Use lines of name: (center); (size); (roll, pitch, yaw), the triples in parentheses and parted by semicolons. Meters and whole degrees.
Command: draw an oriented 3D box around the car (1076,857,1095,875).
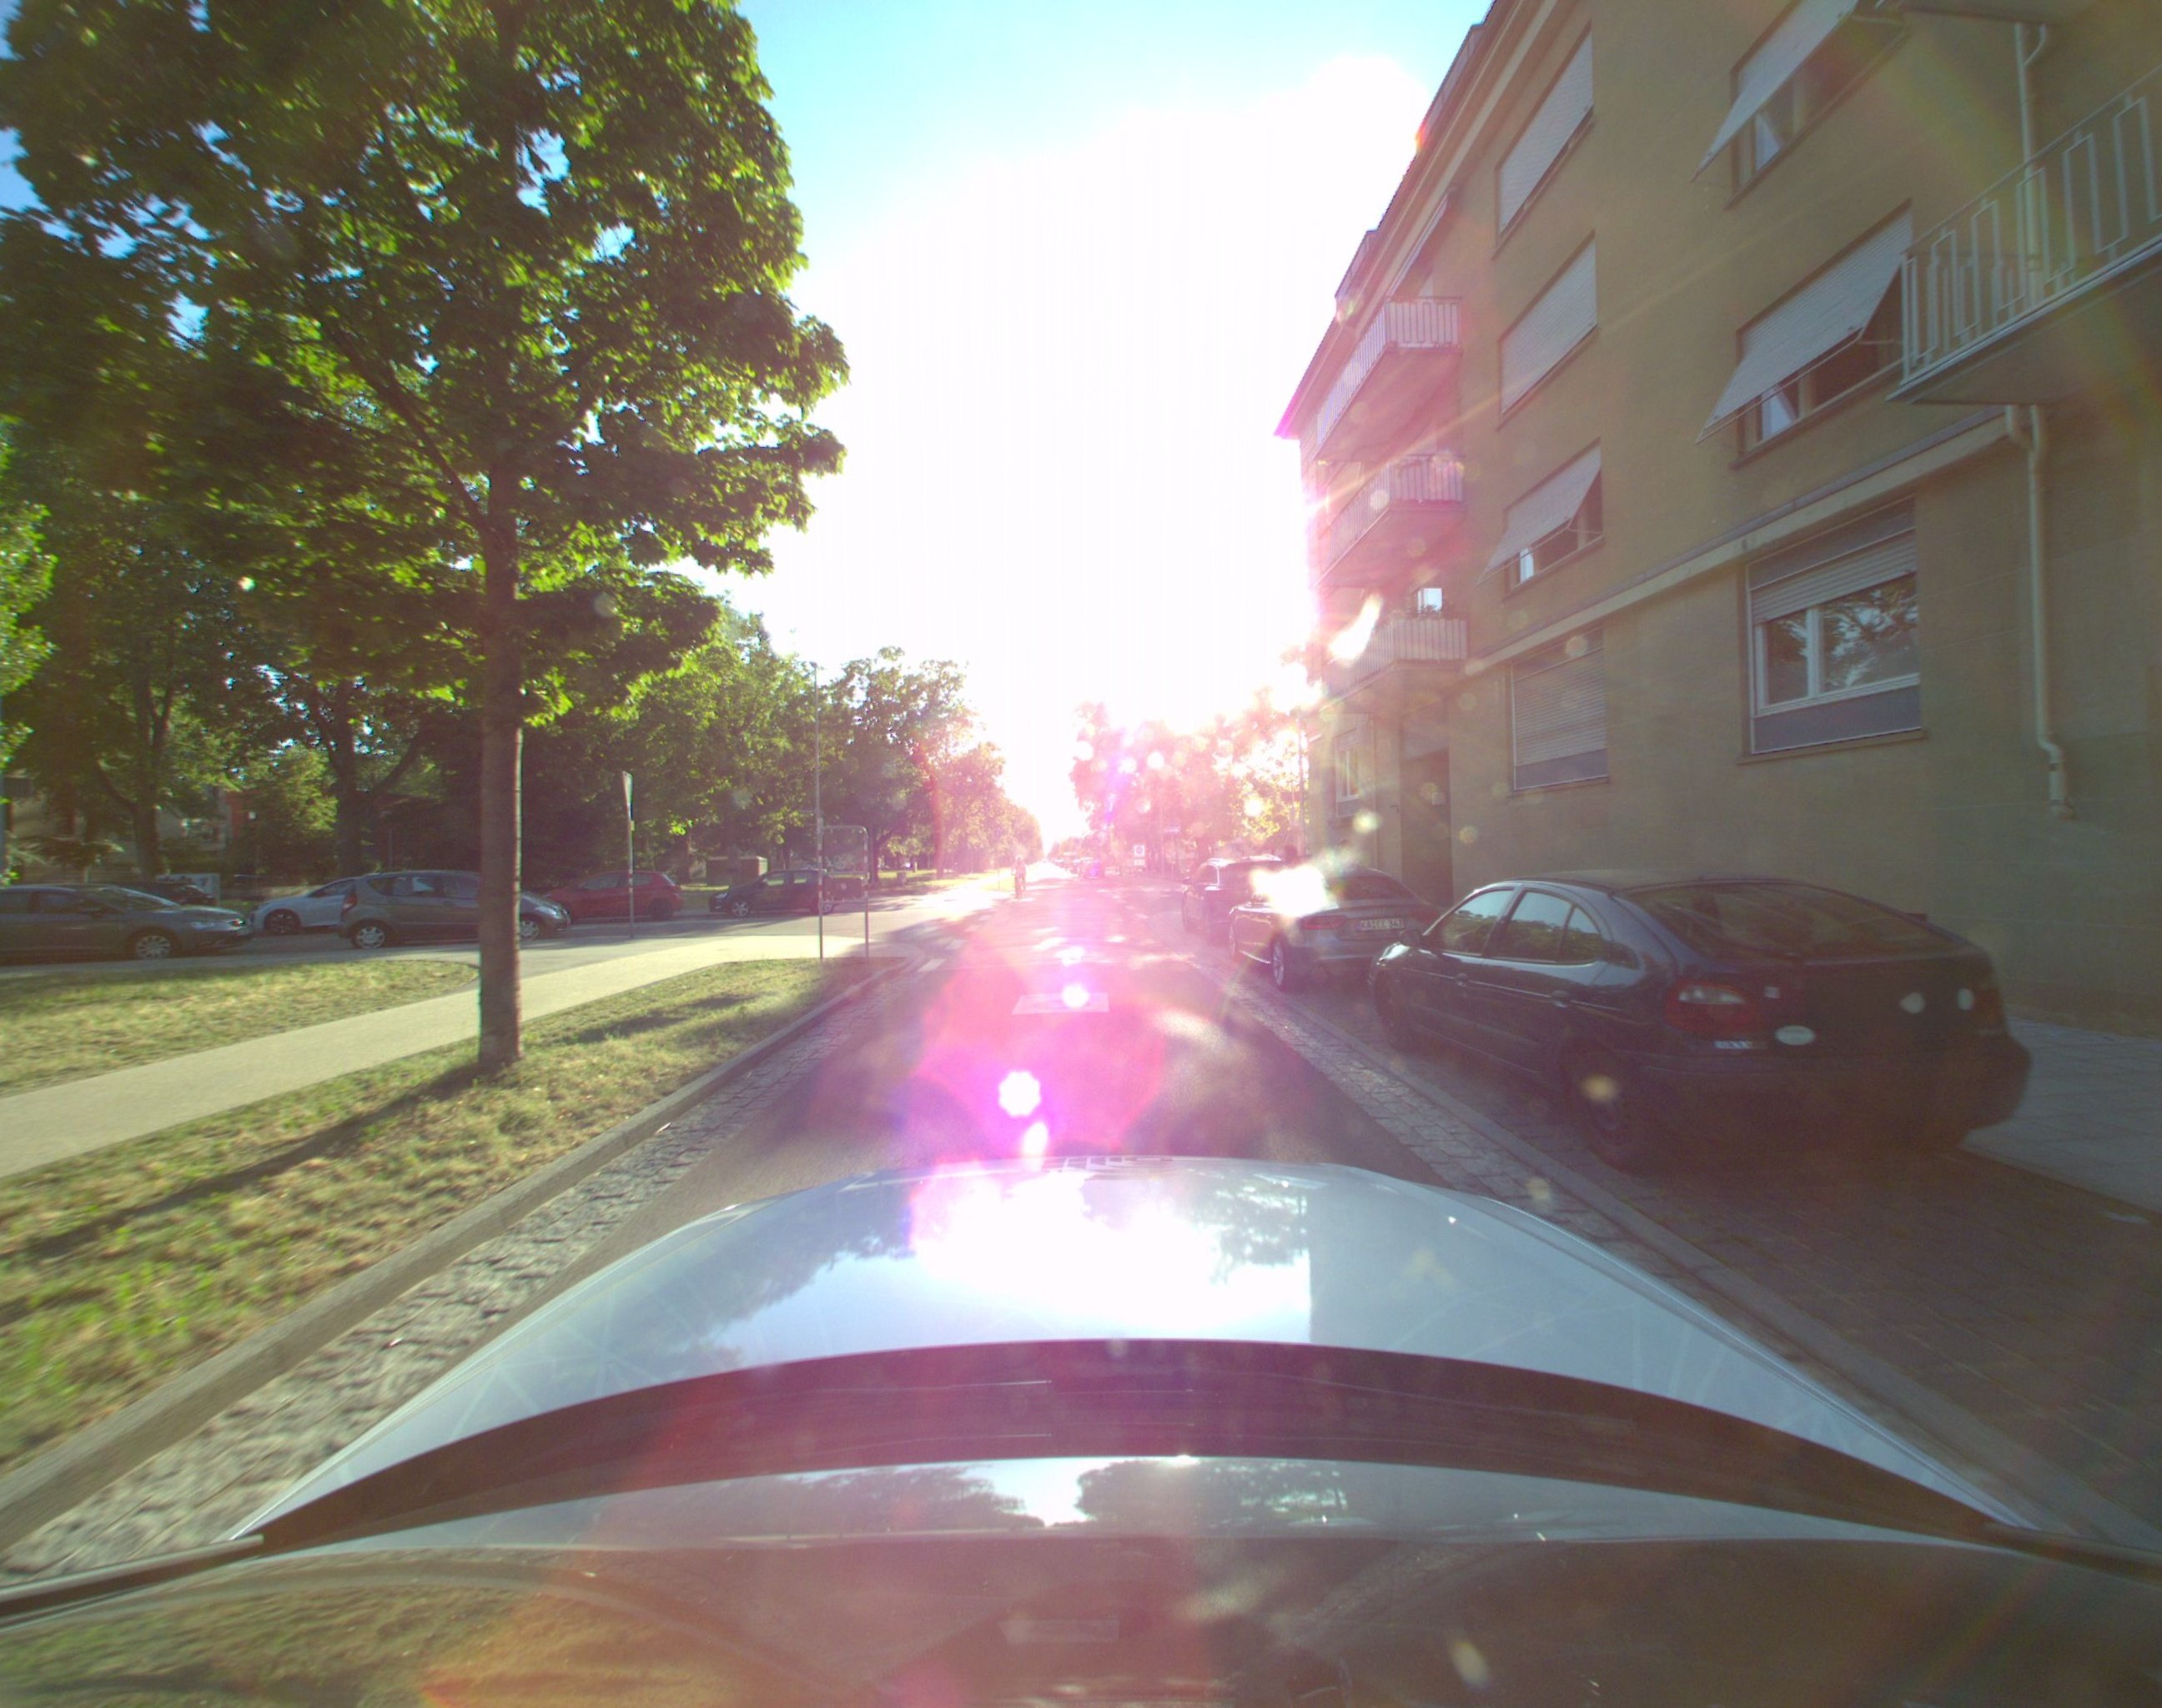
car: (0.480, 1.278, 83.582); (1.674, 1.740, 4.508); (-2, -1, -3)

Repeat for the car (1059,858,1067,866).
car: (-3.852, 1.855, 177.655); (1.623, 1.669, 4.244); (-2, -1, -3)

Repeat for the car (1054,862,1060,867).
car: (-7.268, 3.191, 242.481); (1.623, 1.410, 4.244); (-2, -1, -3)

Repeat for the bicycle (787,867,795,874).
bicycle: (-49.071, 2.783, 137.767); (0.656, 1.175, 2.329); (-1, -1, -5)

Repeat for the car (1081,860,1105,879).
car: (1.014, 1.310, 69.662); (1.674, 1.486, 4.804); (-2, -1, -3)

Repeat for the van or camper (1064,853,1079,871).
van or camper: (-1.655, 1.417, 136.407); (2.229, 2.904, 5.665); (-2, -2, -3)

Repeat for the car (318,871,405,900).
car: (-43.538, 1.890, 49.404); (1.989, 1.618, 3.734); (0, -1, -2)

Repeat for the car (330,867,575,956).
car: (-13.264, 1.154, 17.523); (3.855, 1.631, 1.824); (-1, -1, -27)

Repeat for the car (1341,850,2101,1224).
car: (3.307, 0.777, 5.389); (1.699, 1.420, 4.032); (-3, -1, -2)

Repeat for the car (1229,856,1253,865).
car: (28.946, 1.213, 147.429); (3.951, 1.552, 1.619); (-2, -1, 25)

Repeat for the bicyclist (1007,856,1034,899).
bicyclist: (-2.422, 0.927, 32.841); (0.933, 1.703, 0.906); (-1, -1, 4)

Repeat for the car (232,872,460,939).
car: (-19.068, 1.304, 21.393); (4.005, 1.574, 1.876); (0, -2, -24)

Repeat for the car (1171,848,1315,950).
car: (2.995, 0.752, 15.979); (1.699, 1.625, 4.344); (-3, 0, -2)

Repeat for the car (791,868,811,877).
car: (-47.849, 3.136, 139.242); (1.988, 1.508, 3.997); (-2, -1, -2)

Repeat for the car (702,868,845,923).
car: (-9.653, 1.272, 25.599); (4.009, 1.574, 1.874); (0, -3, -28)

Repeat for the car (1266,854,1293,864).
car: (36.615, 0.917, 150.406); (4.467, 1.746, 1.892); (-2, -1, 32)

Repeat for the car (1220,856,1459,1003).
car: (3.069, 0.818, 10.685); (1.697, 1.420, 4.347); (-4, -1, 0)

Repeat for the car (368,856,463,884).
car: (-51.227, 1.215, 62.814); (4.946, 2.114, 2.673); (0, -1, -6)

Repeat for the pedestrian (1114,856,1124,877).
pedestrian: (3.179, 1.057, 68.270); (0.751, 1.736, 0.731); (0, -1, -2)

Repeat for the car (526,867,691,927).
car: (-13.637, 1.212, 23.773); (4.009, 1.574, 1.874); (0, -3, -28)

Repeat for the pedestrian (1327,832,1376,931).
pedestrian: (5.149, 0.503, 15.492); (0.735, 1.830, 0.550); (0, -1, -39)

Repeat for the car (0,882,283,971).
car: (-18.192, 1.313, 15.218); (4.283, 1.400, 1.825); (-1, -1, -25)

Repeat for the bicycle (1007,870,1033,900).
bicycle: (-2.436, 1.229, 32.687); (0.735, 1.135, 2.107); (-1, -1, 4)

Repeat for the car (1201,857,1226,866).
car: (25.359, 1.403, 155.725); (4.477, 1.569, 1.888); (-2, -1, 16)

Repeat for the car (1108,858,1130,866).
car: (7.472, 1.594, 158.848); (4.180, 1.530, 2.000); (-2, -1, 1)

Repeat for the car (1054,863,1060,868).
car: (-6.821, 3.343, 231.093); (1.623, 1.410, 4.244); (-2, -1, -3)

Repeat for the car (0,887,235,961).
car: (-23.396, 1.624, 19.411); (4.004, 1.574, 1.876); (-1, -2, -23)

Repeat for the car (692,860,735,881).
car: (-46.179, 2.036, 102.514); (2.715, 2.463, 6.309); (-2, -1, -4)

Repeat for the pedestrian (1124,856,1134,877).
pedestrian: (4.032, 1.043, 68.301); (0.723, 1.736, 0.731); (0, -1, -2)

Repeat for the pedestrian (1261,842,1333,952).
pedestrian: (3.559, 0.691, 13.488); (0.950, 1.769, 0.777); (0, -1, -4)

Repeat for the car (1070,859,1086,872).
car: (-0.426, 1.507, 105.214); (1.728, 1.551, 4.416); (-2, -1, -4)

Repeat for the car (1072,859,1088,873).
car: (-0.121, 1.473, 98.975); (1.727, 1.551, 4.272); (-2, -1, -2)

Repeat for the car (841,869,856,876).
car: (-48.377, 3.816, 169.615); (1.988, 1.508, 4.112); (-2, -1, -2)
